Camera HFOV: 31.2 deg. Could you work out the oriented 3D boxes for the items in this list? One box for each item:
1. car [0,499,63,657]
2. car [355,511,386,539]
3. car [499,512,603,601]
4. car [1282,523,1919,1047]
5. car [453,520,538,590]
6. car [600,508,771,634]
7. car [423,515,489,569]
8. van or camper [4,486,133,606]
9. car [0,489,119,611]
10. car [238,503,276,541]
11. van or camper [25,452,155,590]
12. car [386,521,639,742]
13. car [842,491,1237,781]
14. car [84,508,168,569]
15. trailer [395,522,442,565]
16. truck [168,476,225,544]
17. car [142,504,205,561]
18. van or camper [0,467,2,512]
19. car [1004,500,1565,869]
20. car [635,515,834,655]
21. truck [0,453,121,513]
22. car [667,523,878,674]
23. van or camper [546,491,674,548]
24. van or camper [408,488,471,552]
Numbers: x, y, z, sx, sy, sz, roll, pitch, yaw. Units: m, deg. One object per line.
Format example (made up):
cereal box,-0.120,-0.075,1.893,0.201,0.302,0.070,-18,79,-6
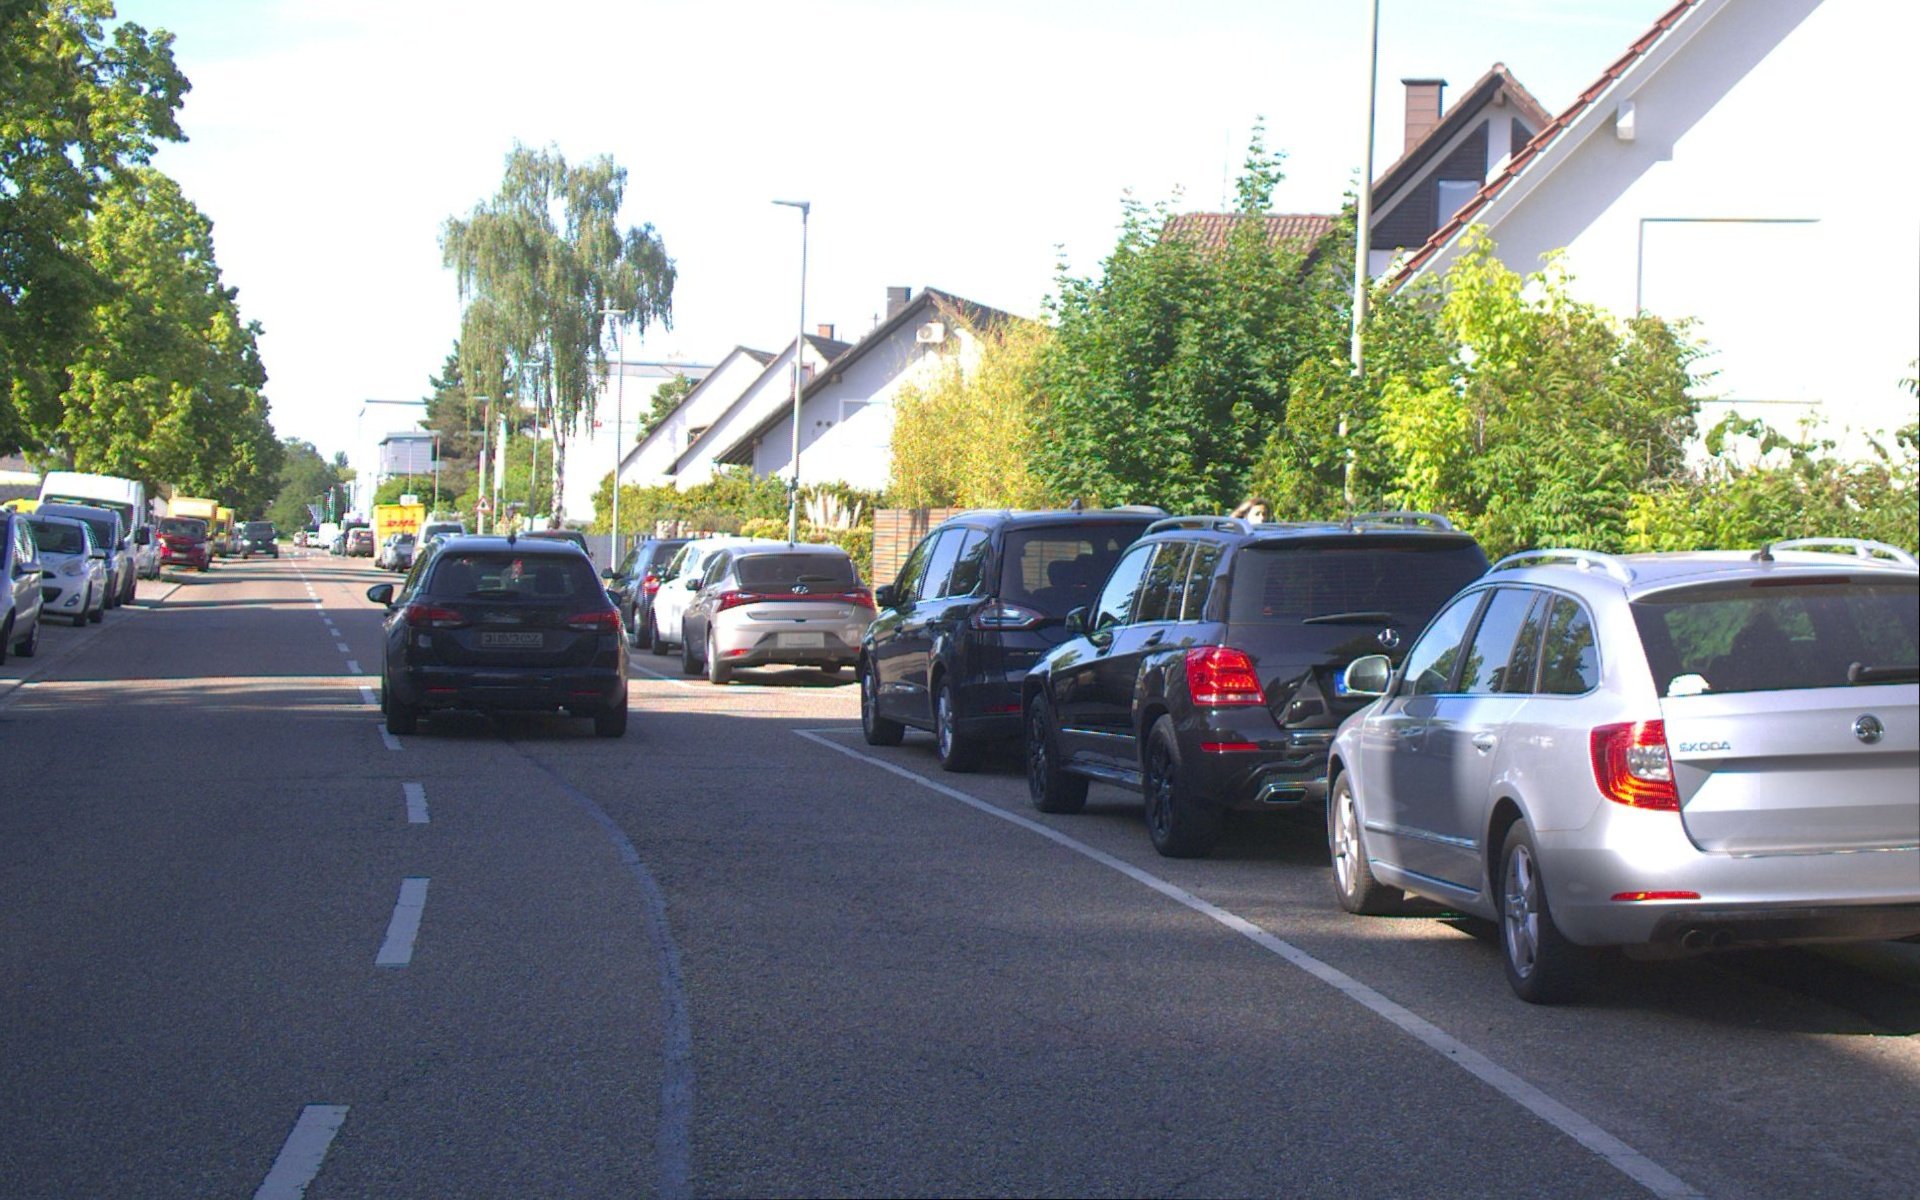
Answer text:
car,-10.872,-0.342,37.147,1.721,1.587,3.910,7,0,-9
car,-39.830,-5.046,232.133,1.918,1.819,4.081,2,1,-11
car,-8.293,-0.905,69.448,1.775,1.653,4.305,3,1,-10
car,2.509,0.520,12.731,1.762,1.558,4.663,2,1,-5
car,-11.976,-1.178,88.439,1.775,1.653,3.817,3,1,-13
car,-3.843,-0.435,47.638,1.656,1.595,3.817,3,1,-15
car,-14.982,-1.738,102.023,1.718,1.499,3.564,3,1,-11
van or camper,-16.025,-0.991,61.961,1.877,2.007,4.281,3,1,-11
car,-13.149,-0.745,49.198,1.692,1.560,3.908,5,0,-9
car,-37.862,-4.210,185.264,1.893,2.024,4.819,0,1,-11
van or camper,-17.376,-1.581,68.850,2.122,2.481,5.557,4,0,-12
car,-3.485,0.187,26.303,1.711,1.527,3.688,2,1,-10
car,0.445,0.182,24.111,1.742,1.807,4.431,2,1,-12
car,-21.673,-1.613,89.464,1.686,1.430,4.210,4,1,-9
trailer,-20.422,-2.141,129.530,1.627,1.533,3.199,2,1,-10
truck,-36.127,-4.223,162.750,2.402,2.973,7.248,4,0,-12
car,-26.529,-2.273,116.081,1.803,1.746,4.343,4,0,-11
van or camper,-30.108,-2.792,97.935,4.893,2.312,2.243,3,0,2
car,1.540,0.344,18.061,1.762,1.670,4.396,2,1,-10
car,-2.878,-0.217,43.119,1.723,1.595,3.817,3,1,-15
truck,-44.305,-5.743,168.043,5.921,2.559,2.224,4,1,1
car,-2.064,-0.055,36.894,1.641,1.489,3.891,2,1,-12
van or camper,-17.045,-3.908,167.512,5.815,2.532,2.289,1,1,-38
van or camper,-16.315,-2.485,107.613,1.718,1.884,4.181,3,1,-11
